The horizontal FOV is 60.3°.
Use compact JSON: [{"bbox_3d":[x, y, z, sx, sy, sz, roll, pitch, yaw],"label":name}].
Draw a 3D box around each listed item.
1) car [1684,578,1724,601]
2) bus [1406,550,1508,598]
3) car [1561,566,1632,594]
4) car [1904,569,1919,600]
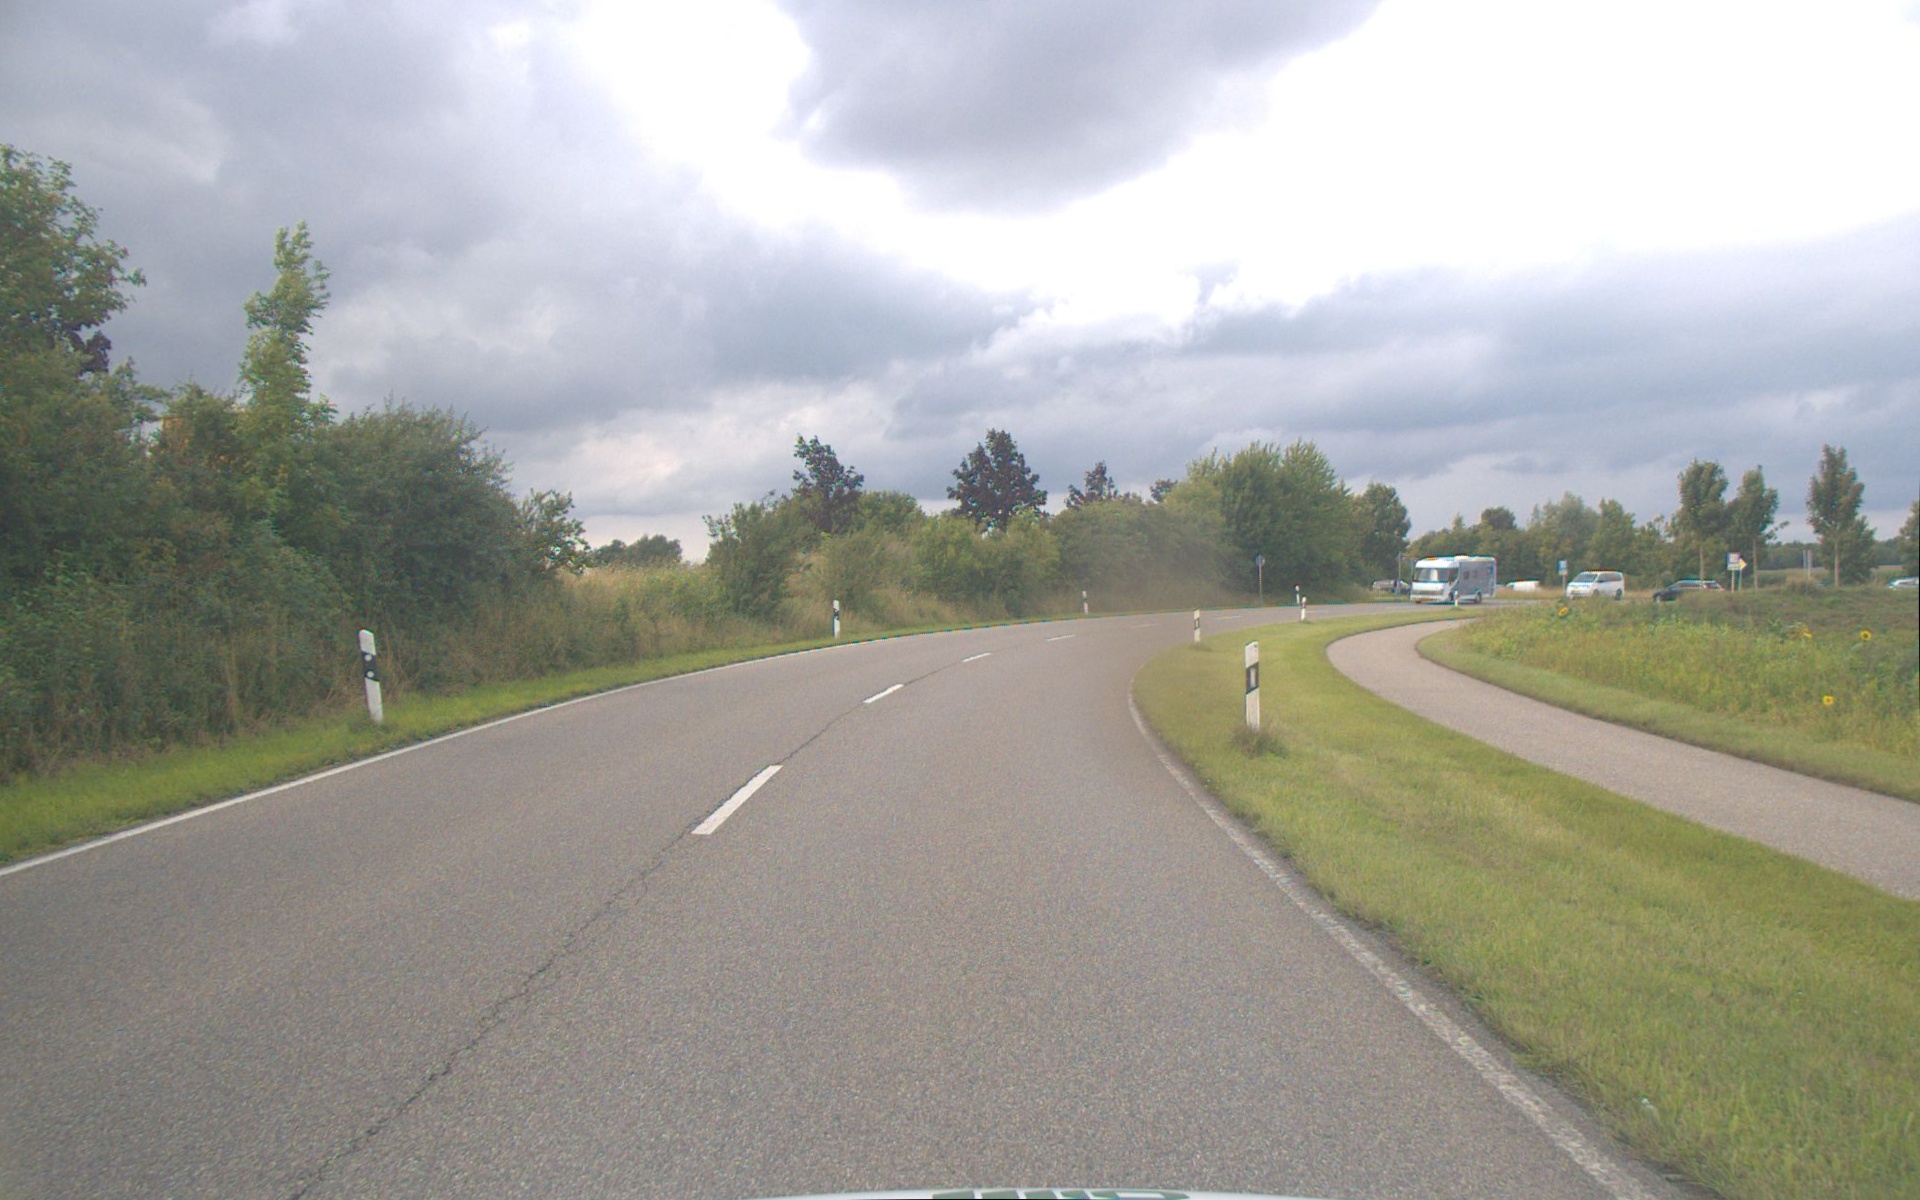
[{"bbox_3d":[45.804,-0.658,101.875,1.802,1.442,4.002,0,1,18],"label":"car"},{"bbox_3d":[29.823,-1.522,99.083,2.440,2.758,8.376,0,1,43],"label":"bus"},{"bbox_3d":[43.217,-1.354,112.278,5.128,1.901,2.094,-1,1,-36],"label":"car"},{"bbox_3d":[63.232,-1.000,105.560,1.938,2.008,4.888,-1,1,-41],"label":"car"}]
